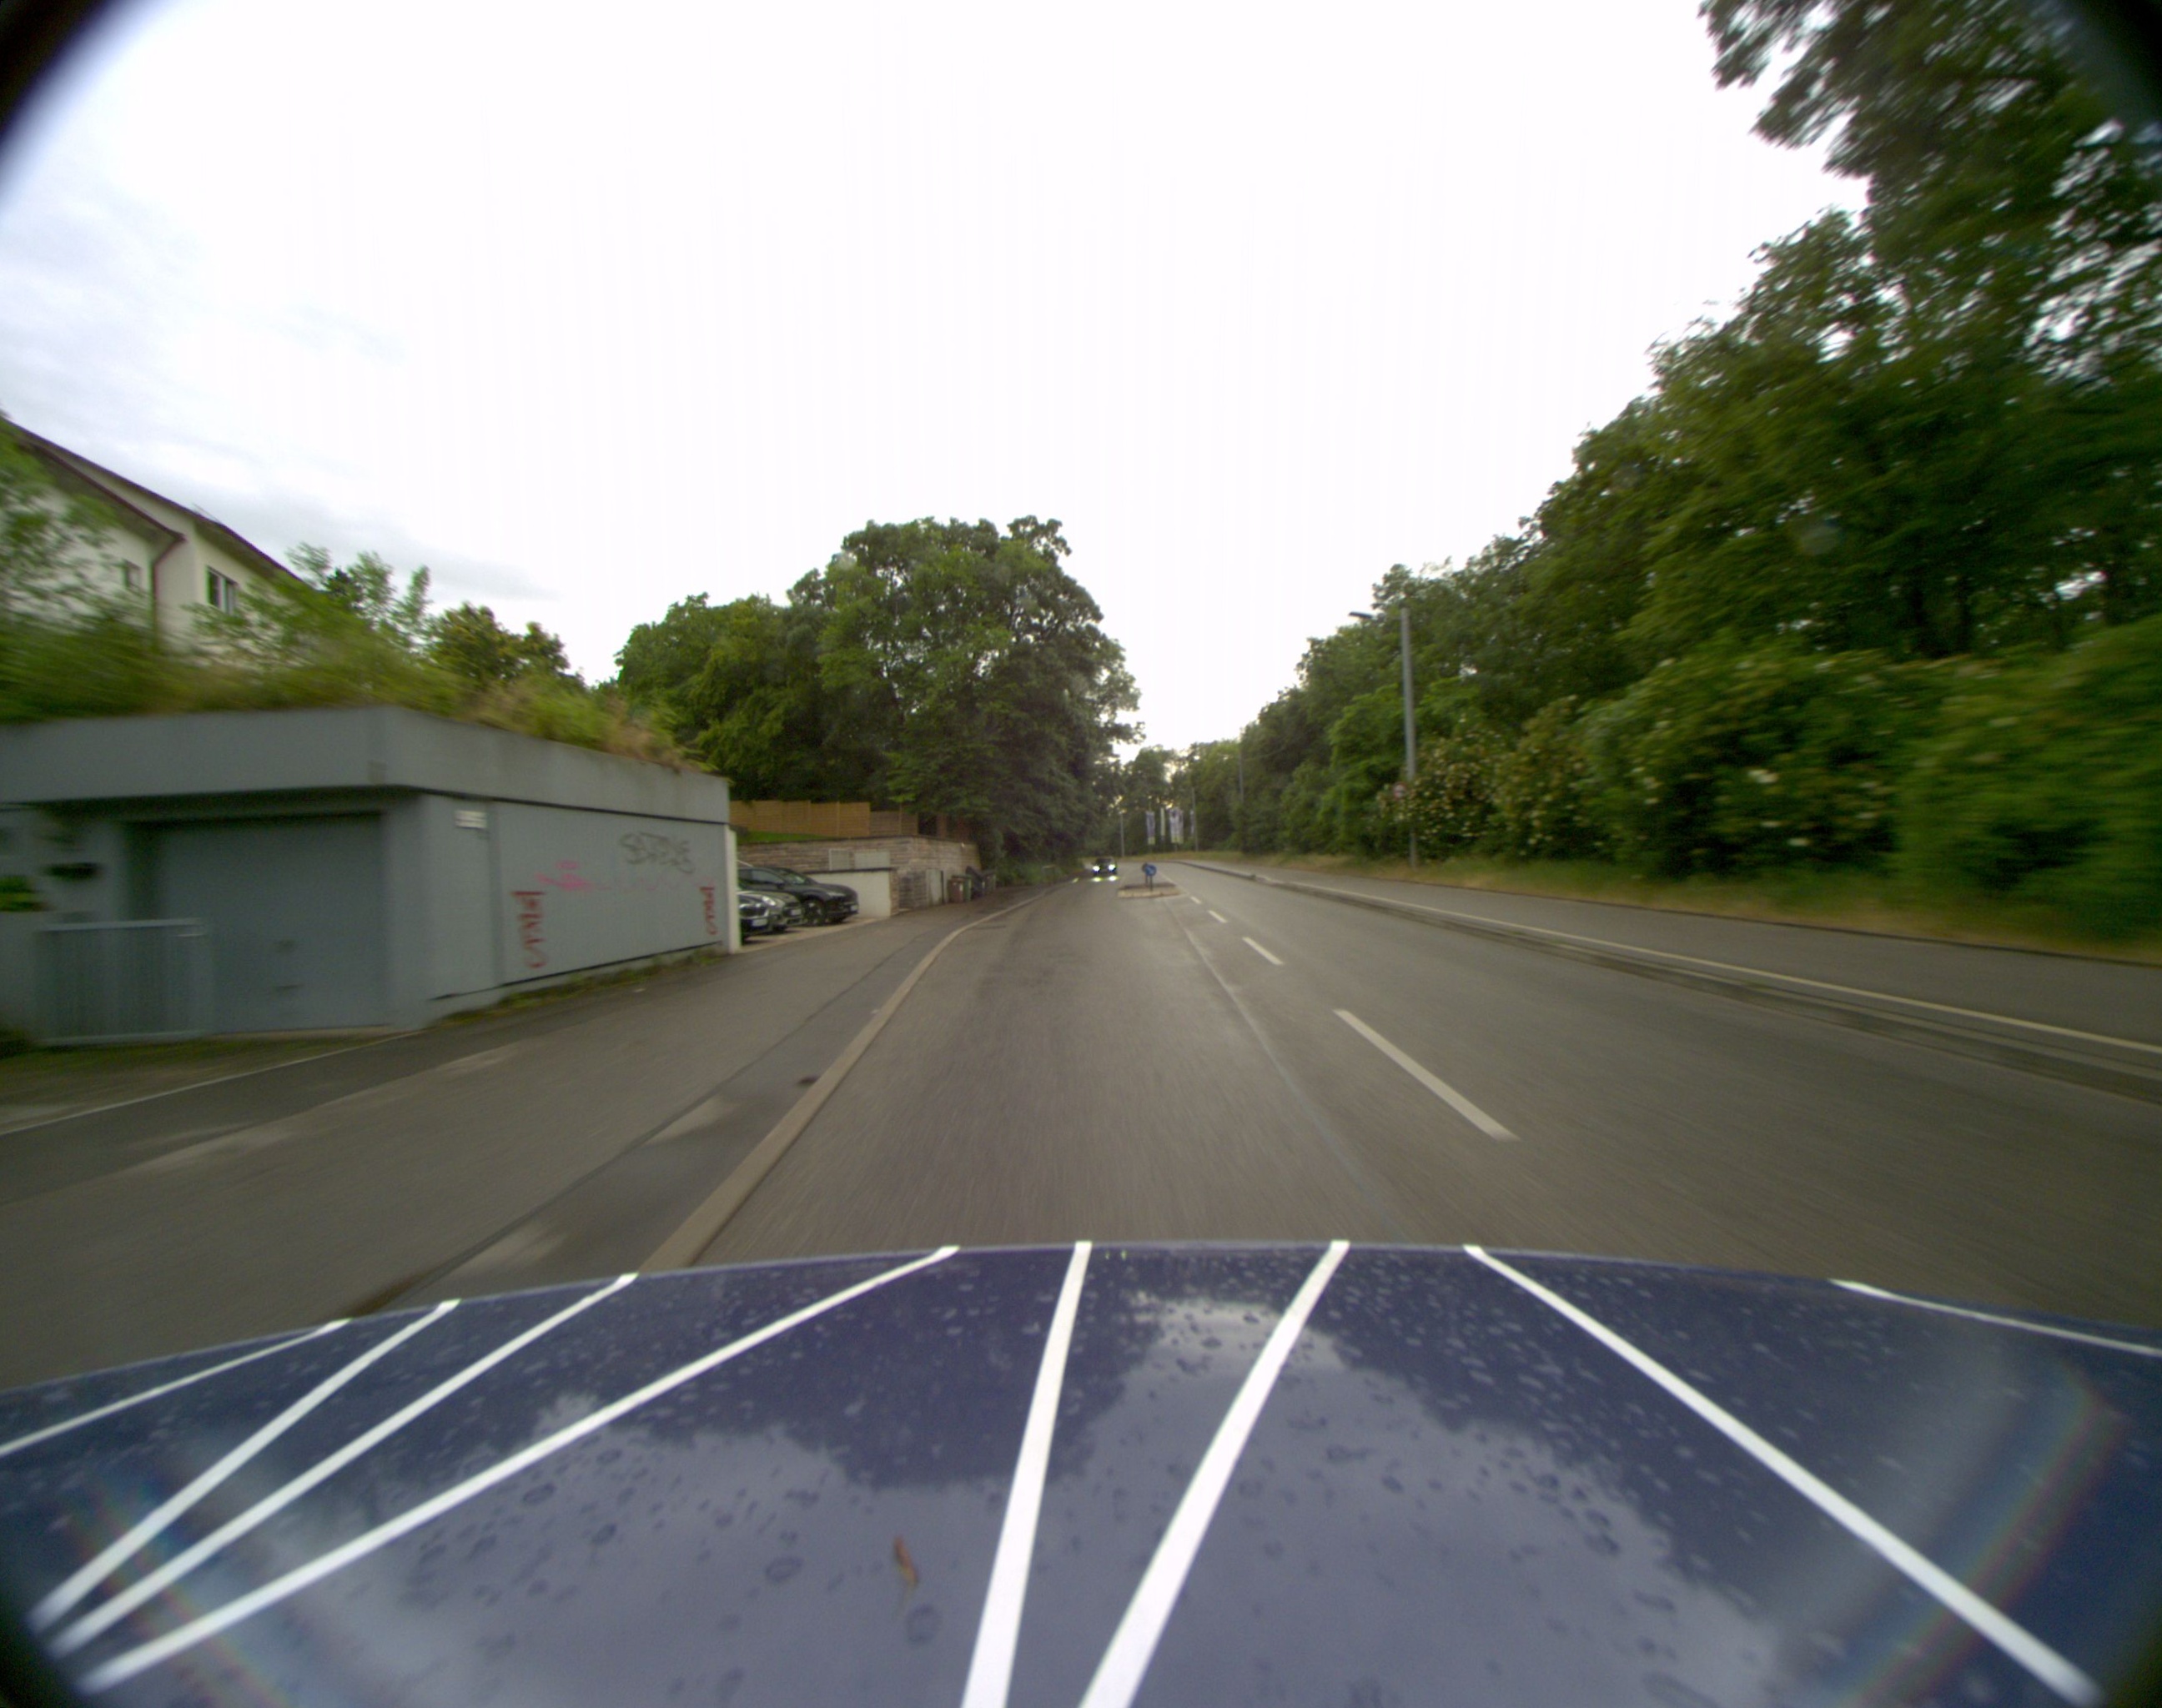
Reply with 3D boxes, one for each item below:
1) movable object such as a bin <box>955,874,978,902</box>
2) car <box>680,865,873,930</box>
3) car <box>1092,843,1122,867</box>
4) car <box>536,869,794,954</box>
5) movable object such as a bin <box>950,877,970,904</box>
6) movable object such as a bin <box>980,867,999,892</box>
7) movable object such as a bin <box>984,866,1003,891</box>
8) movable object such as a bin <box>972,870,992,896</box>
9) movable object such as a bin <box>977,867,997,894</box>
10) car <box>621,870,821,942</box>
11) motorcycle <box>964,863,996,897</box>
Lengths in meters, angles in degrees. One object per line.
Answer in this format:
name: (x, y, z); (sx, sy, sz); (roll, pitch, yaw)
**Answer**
movable object such as a bin: (-4.355, 1.291, 28.915); (0.666, 0.999, 0.659); (-4, 1, 5)
car: (-7.861, 1.107, 19.888); (4.227, 1.498, 1.895); (-1, 1, 4)
car: (2.034, 0.069, 59.054); (1.998, 1.714, 4.001); (-4, 1, 5)
car: (-8.080, 1.095, 14.976); (4.042, 1.506, 1.960); (-1, 0, 8)
movable object such as a bin: (-4.474, 1.355, 28.181); (0.570, 0.931, 0.549); (-4, 1, 5)
movable object such as a bin: (-4.038, 1.131, 33.615); (0.666, 1.062, 0.701); (-4, 1, 5)
movable object such as a bin: (-3.948, 1.120, 34.433); (0.666, 1.062, 0.701); (-4, 1, 5)
movable object such as a bin: (-4.177, 1.218, 32.064); (0.666, 1.062, 0.659); (-4, 1, 5)
movable object such as a bin: (-4.080, 1.145, 32.870); (0.666, 1.062, 0.659); (-4, 1, 5)
car: (-8.123, 1.150, 17.370); (3.643, 1.417, 1.837); (-1, 1, 3)
motorcycle: (-4.023, 1.019, 30.487); (0.777, 1.237, 2.013); (-4, 1, 5)
